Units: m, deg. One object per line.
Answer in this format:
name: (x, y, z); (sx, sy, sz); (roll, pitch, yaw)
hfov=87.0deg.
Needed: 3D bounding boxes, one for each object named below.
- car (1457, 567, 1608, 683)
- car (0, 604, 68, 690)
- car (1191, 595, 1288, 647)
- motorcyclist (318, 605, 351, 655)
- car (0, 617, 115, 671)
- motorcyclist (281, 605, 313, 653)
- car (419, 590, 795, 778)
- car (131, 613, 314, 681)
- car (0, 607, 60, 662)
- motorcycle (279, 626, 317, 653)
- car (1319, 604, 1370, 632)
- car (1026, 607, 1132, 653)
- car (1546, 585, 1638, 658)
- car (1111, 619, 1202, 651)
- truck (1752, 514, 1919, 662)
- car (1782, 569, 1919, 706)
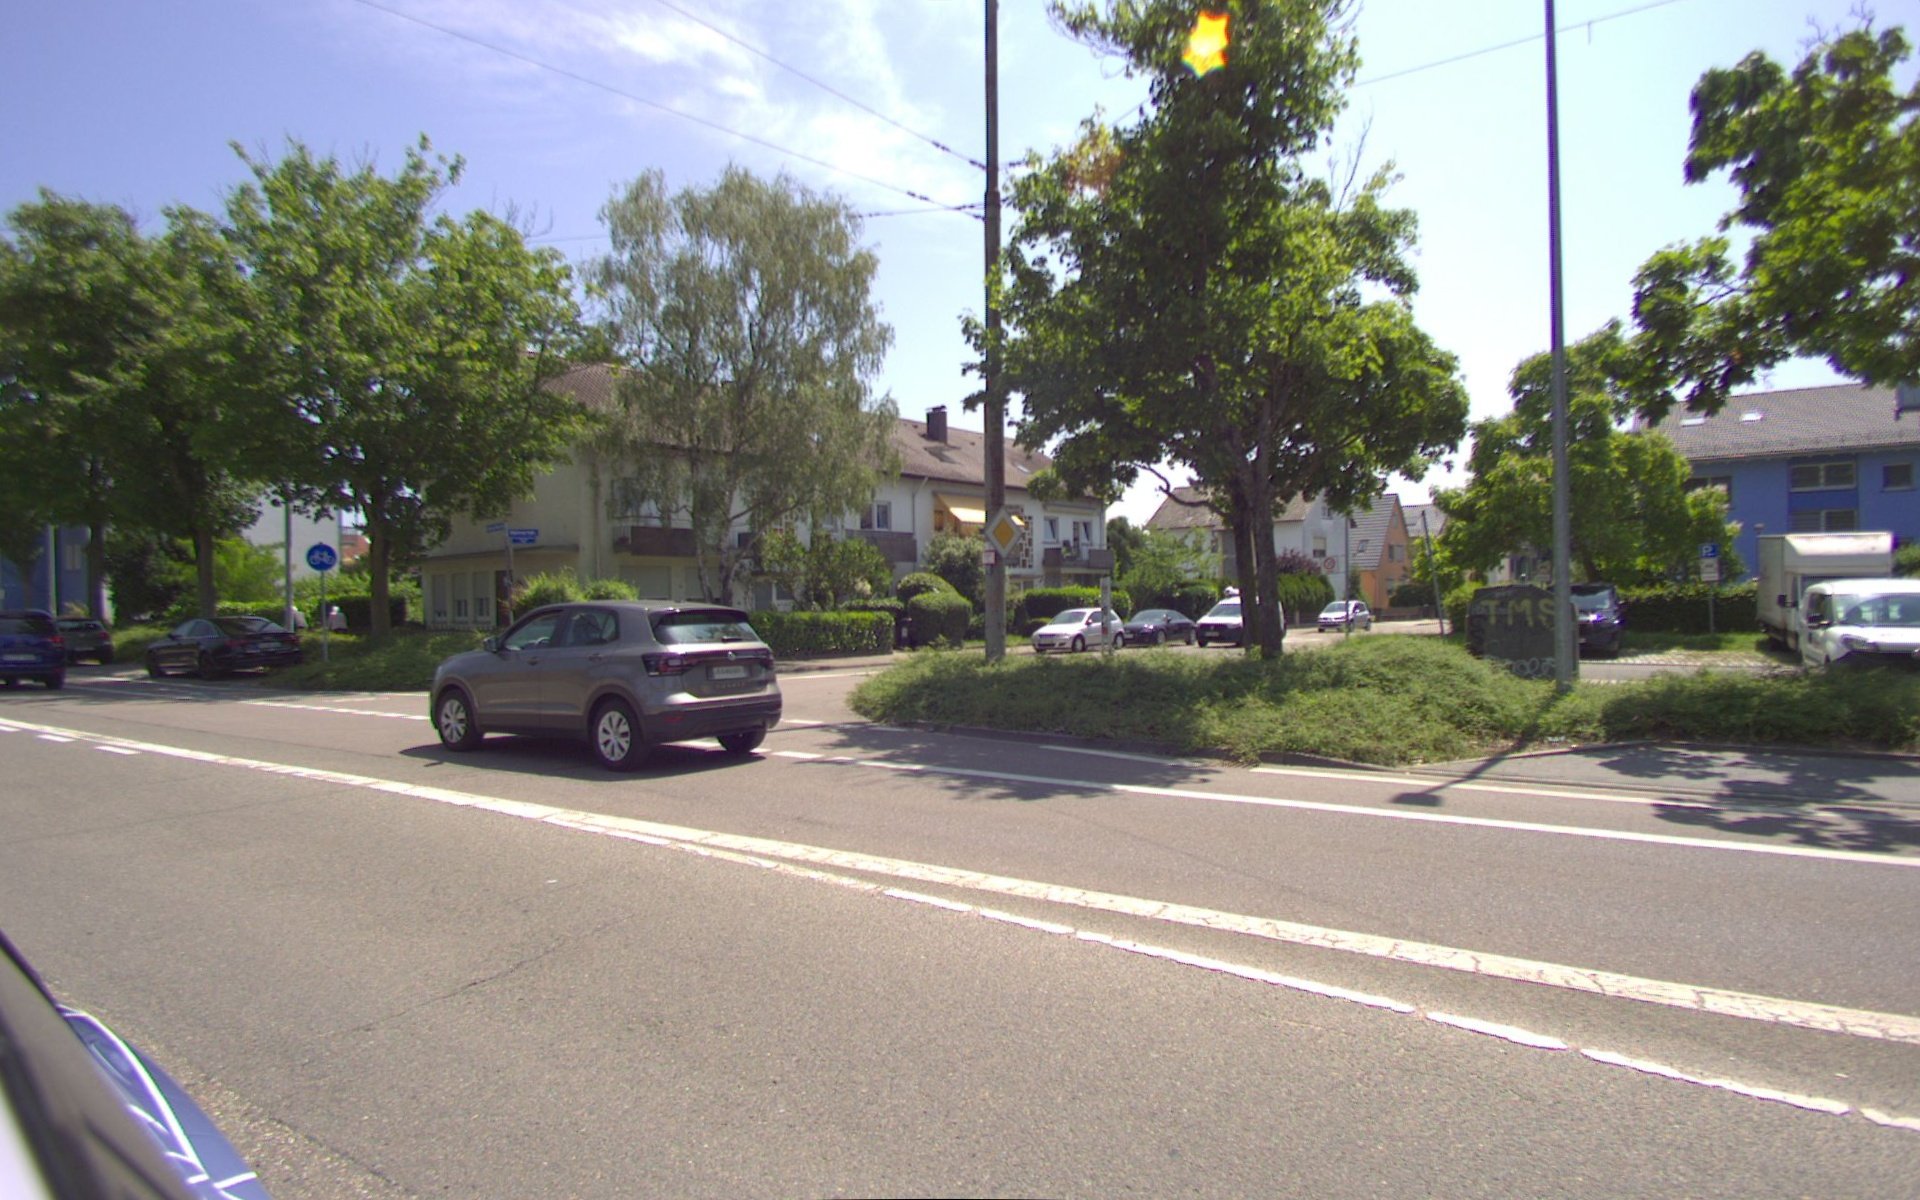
car: (10.641, 0.416, 18.649); (2.056, 1.871, 4.410); (-1, -1, 34)
car: (-20.232, 0.948, 20.879); (4.054, 1.669, 1.723); (-1, -1, 33)
car: (9.857, 0.699, 35.501); (1.739, 1.719, 4.180); (-1, -1, 39)
motorcyclist: (-19.507, 0.931, 31.583); (0.660, 1.514, 0.581); (-1, 2, 34)
car: (-27.867, 1.331, 31.153); (4.115, 1.498, 1.663); (-1, 1, 33)
motorcyclist: (-21.782, 0.940, 33.260); (0.723, 1.514, 0.581); (-1, 2, 34)
car: (-3.639, 0.742, 10.291); (3.702, 1.587, 1.723); (-1, -1, 33)
car: (-18.190, 1.105, 24.898); (4.791, 1.467, 1.881); (-1, 1, 31)
car: (-32.236, 1.153, 33.953); (4.675, 1.701, 1.955); (-1, 1, 34)
motorcycle: (-21.774, 1.298, 33.278); (1.367, 0.831, 0.522); (-1, 2, 34)
car: (19.718, 0.909, 51.802); (1.542, 1.339, 3.862); (-1, -1, 34)
car: (3.973, 0.948, 33.263); (1.545, 1.404, 3.854); (-1, -1, 41)
car: (17.672, 0.539, 28.206); (1.935, 1.834, 4.667); (-1, 0, 35)
car: (7.146, 1.236, 36.557); (1.545, 1.000, 3.697); (-1, 0, 42)
truck: (22.128, -0.301, 25.775); (2.143, 3.252, 6.926); (-1, 0, 31)
car: (14.116, 0.500, 15.380); (1.665, 1.849, 4.240); (-1, -1, 28)
